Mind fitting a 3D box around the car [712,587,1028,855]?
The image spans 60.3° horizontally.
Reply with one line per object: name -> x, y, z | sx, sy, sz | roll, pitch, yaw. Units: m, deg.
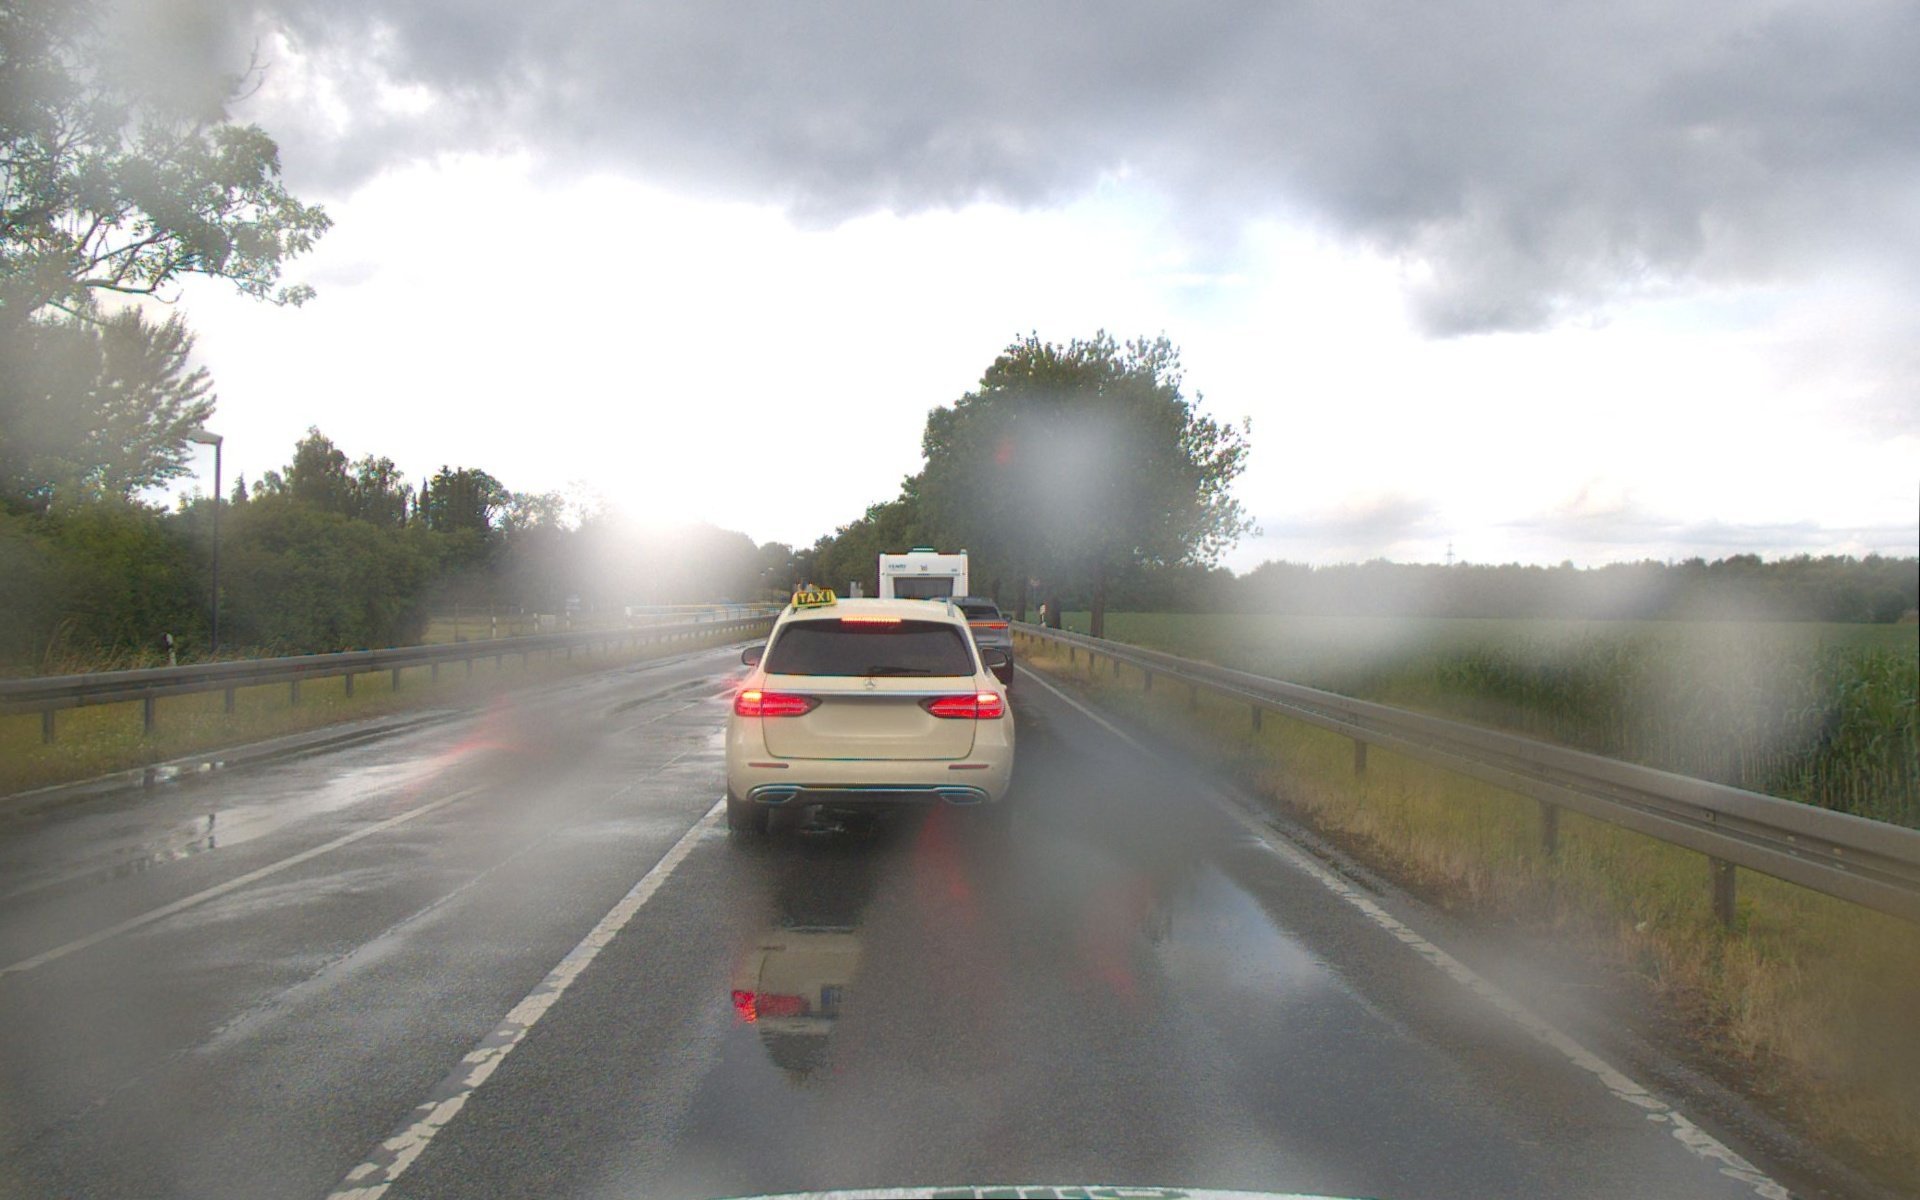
car -> -0.498, 0.691, 11.495 | 1.787, 1.511, 4.145 | 1, 0, 0

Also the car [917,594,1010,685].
car -> 0.032, 0.671, 30.338 | 1.594, 1.556, 3.932 | 0, 0, -1

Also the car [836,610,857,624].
car -> -10.631, 1.588, 155.071 | 1.723, 1.291, 3.999 | 0, 0, -1

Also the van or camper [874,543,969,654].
van or camper -> -0.986, -0.064, 43.827 | 2.303, 2.727, 5.767 | 1, 0, -1
